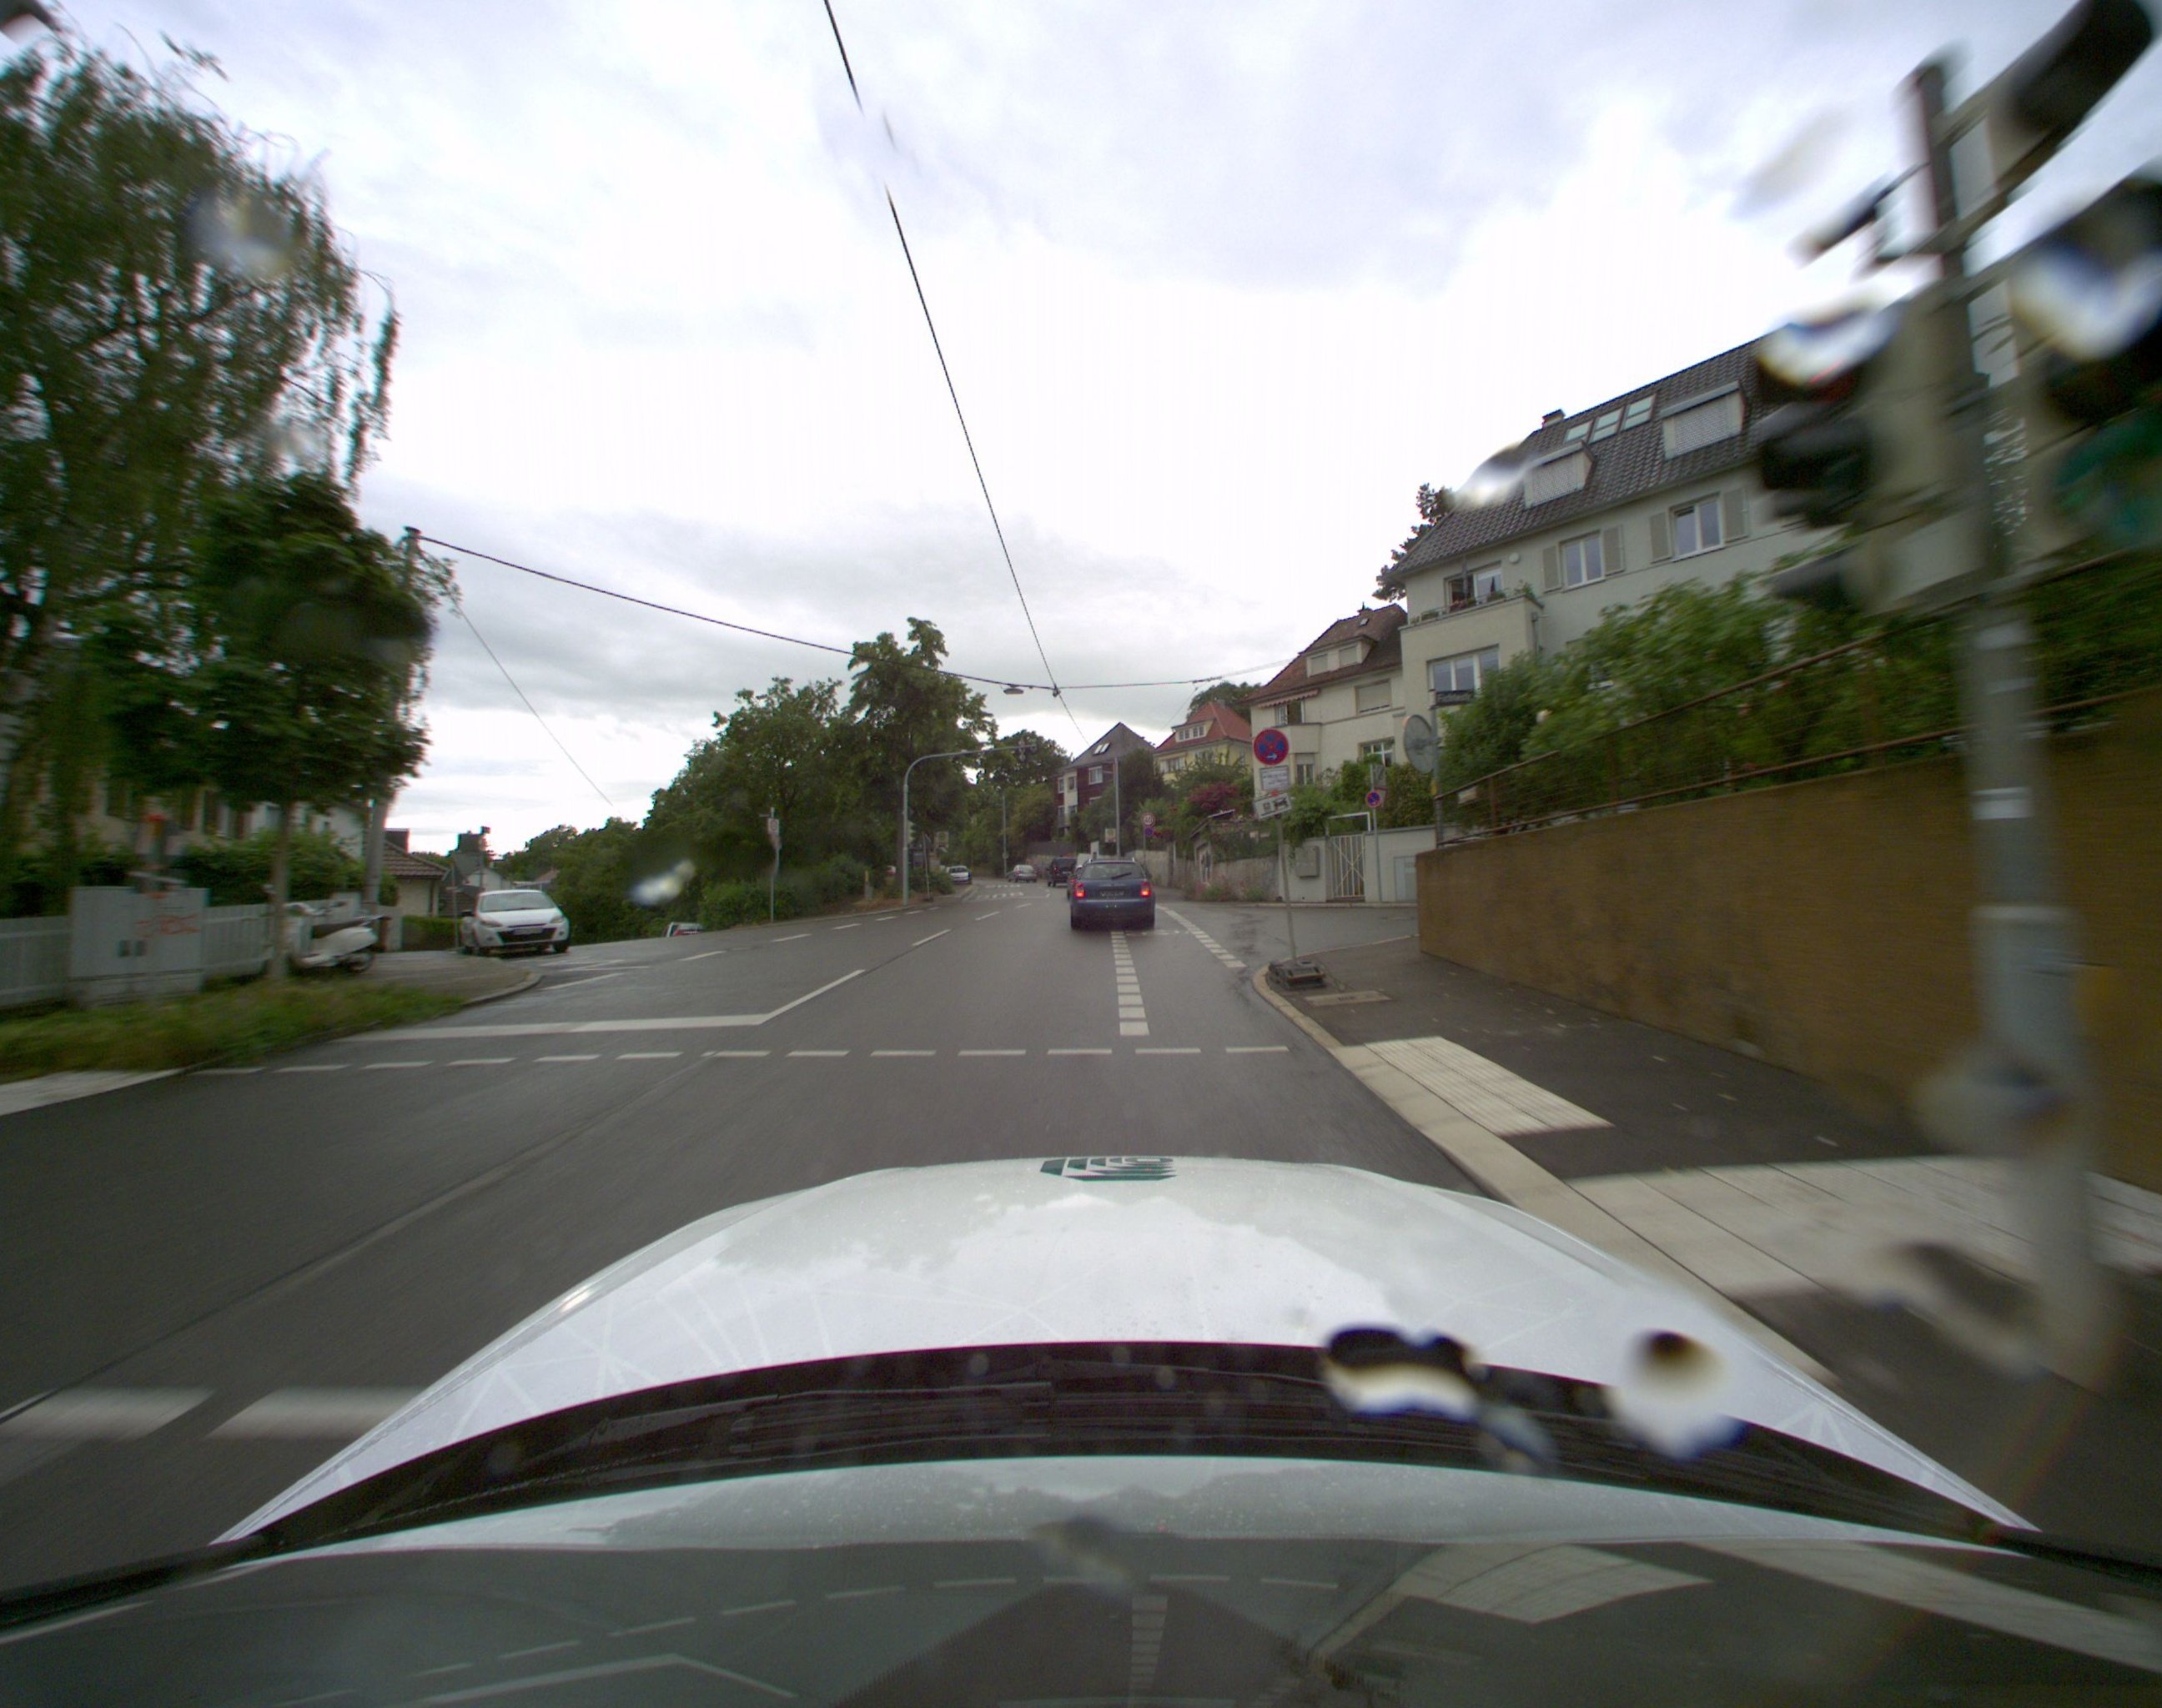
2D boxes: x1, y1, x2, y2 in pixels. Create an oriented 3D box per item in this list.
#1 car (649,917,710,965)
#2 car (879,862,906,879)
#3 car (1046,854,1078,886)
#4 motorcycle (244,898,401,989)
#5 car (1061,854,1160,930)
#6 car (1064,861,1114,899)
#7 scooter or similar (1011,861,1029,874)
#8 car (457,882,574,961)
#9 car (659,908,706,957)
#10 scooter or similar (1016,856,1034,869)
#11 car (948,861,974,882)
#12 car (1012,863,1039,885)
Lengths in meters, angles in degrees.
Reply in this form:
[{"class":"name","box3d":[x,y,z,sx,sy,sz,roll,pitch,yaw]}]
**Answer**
[{"class":"car","box3d":[-16.889,3.613,34.172,1.853,1.750,3.960,5,-5,-31]},{"class":"car","box3d":[-20.987,1.842,90.436,2.004,1.728,3.966,-3,0,-26]},{"class":"car","box3d":[-1.242,0.973,51.756,1.728,1.894,4.047,-3,0,-5]},{"class":"motorcycle","box3d":[-11.125,1.272,12.035,0.589,1.131,1.842,-2,0,-1]},{"class":"car","box3d":[0.755,0.753,17.794,1.767,1.439,4.008,-2,0,7]},{"class":"car","box3d":[0.279,1.043,33.949,1.903,1.388,4.349,1,0,-1]},{"class":"scooter or similar","box3d":[-6.613,1.492,88.112,1.835,1.315,0.597,4,-4,-12]},{"class":"car","box3d":[-13.142,1.545,18.829,1.699,1.509,3.963,-4,-2,-42]},{"class":"car","box3d":[-18.989,3.733,38.971,1.755,2.014,3.967,5,-3,-24]},{"class":"scooter or similar","box3d":[-5.943,0.913,86.658,1.835,1.315,0.597,4,-4,-12]},{"class":"car","box3d":[-9.133,1.310,61.831,1.675,1.427,3.984,-3,0,-11]},{"class":"car","box3d":[-4.516,1.593,65.851,1.766,1.570,4.016,-3,0,-10]}]
